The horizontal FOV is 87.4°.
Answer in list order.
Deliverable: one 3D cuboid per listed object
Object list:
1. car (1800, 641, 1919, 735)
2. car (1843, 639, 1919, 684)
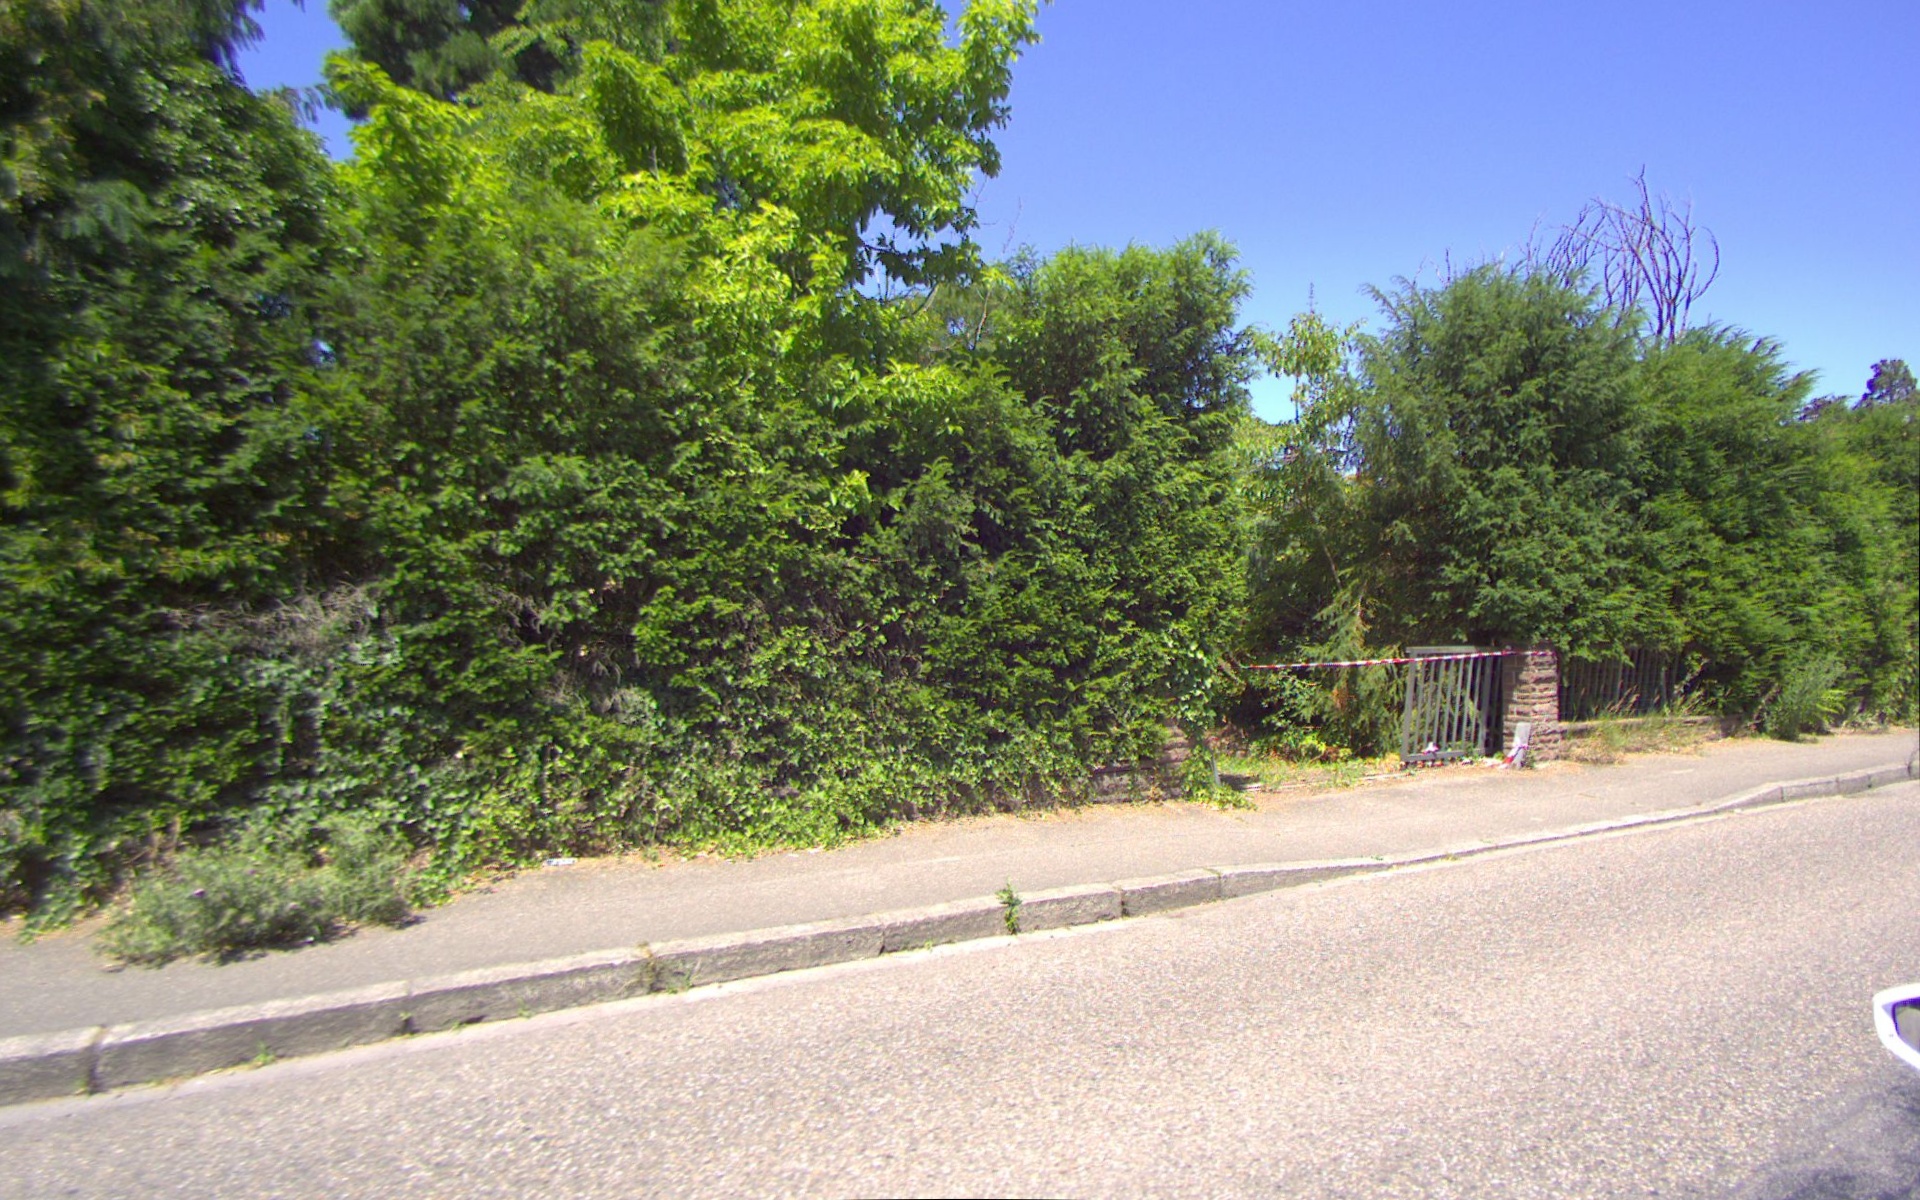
[{"bbox_3d":[17.792,1.605,19.062,3.493,1.617,1.768,2,-2,-30],"label":"car"},{"bbox_3d":[30.295,1.957,32.248,3.485,1.350,1.656,2,-2,-24],"label":"car"}]
